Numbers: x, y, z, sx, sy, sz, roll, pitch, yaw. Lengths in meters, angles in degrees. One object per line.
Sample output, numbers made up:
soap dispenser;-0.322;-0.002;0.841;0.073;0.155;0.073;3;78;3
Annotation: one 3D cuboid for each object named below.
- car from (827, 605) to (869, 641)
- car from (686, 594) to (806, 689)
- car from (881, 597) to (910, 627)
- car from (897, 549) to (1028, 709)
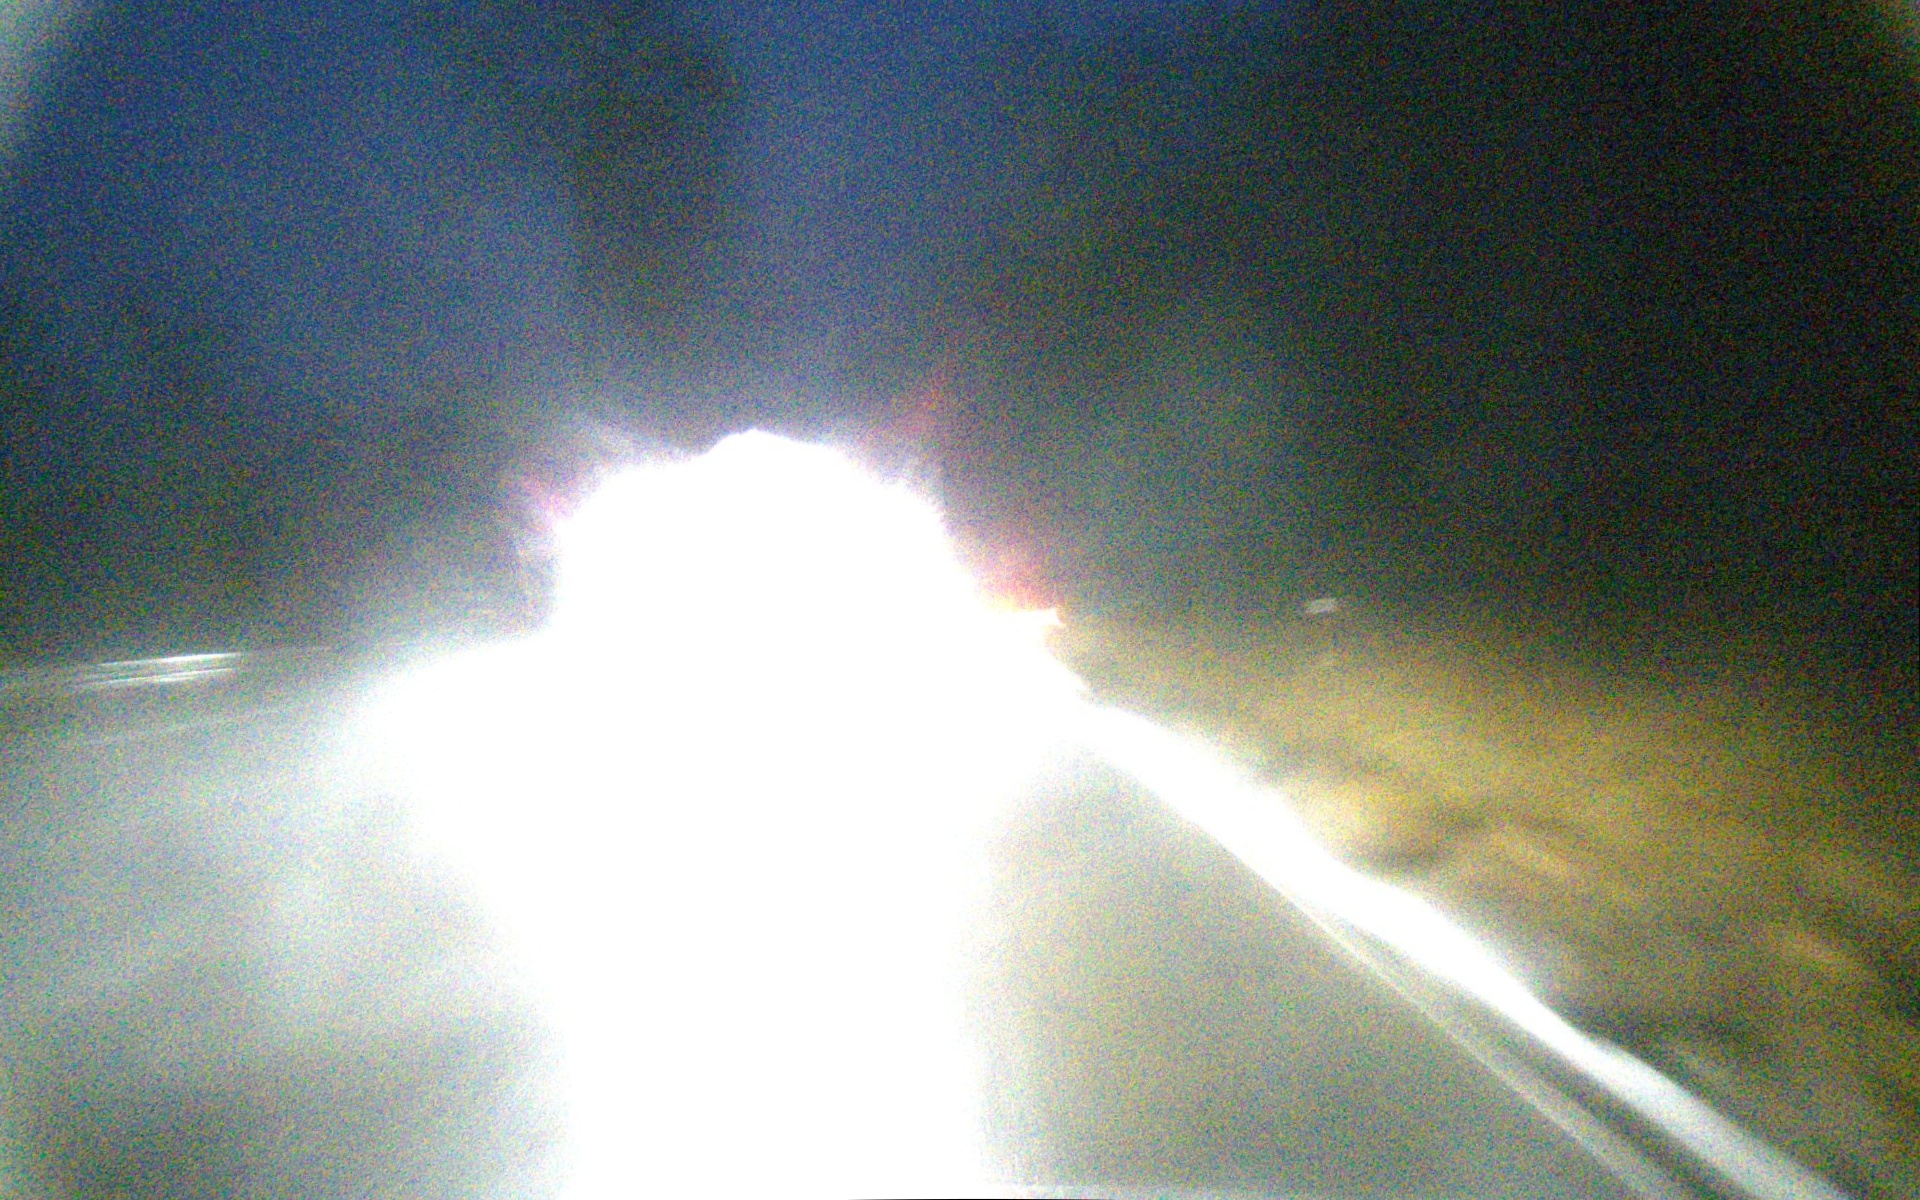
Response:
car;-5.037;1.026;74.822;1.736;1.536;3.688;0;1;-1
car;-4.038;0.733;31.768;1.822;1.666;4.142;-1;0;-1
car;-4.756;0.912;122.818;1.954;2.048;3.999;-4;0;-1
car;-0.003;0.418;29.847;2.137;2.601;4.507;1;2;-1
